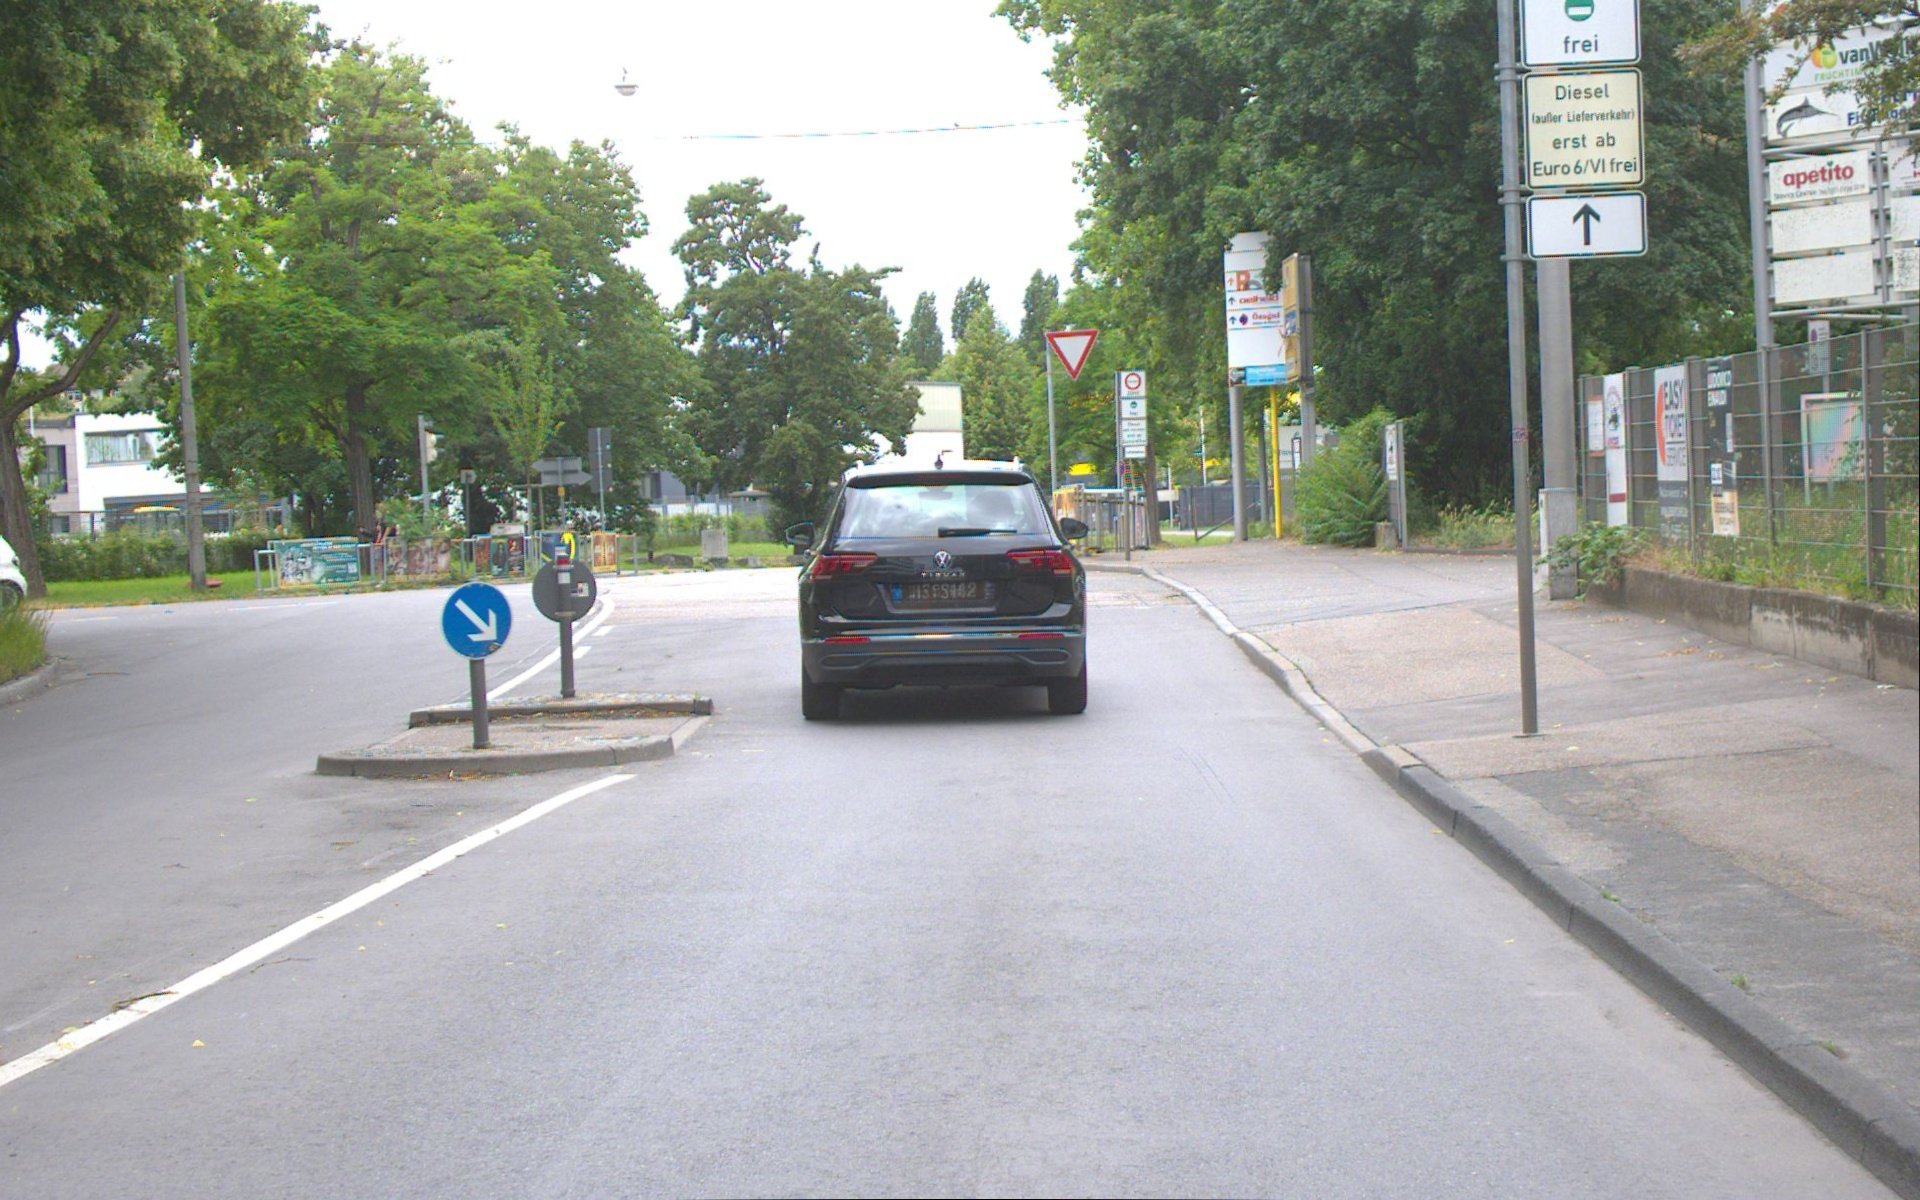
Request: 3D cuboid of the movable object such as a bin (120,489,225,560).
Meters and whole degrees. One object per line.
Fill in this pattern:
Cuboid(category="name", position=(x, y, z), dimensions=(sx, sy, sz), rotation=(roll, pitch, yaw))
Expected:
Cuboid(category="movable object such as a bin", position=(-24.018, -2.323, 104.923), dimensions=(1.996, 2.006, 2.397), rotation=(-2, 2, 22))

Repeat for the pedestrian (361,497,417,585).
Cuboid(category="pedestrian", position=(-11.710, -1.210, 70.525), dimensions=(0.743, 1.736, 0.726), rotation=(-1, 2, 41))

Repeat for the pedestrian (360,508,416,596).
Cuboid(category="pedestrian", position=(-11.558, -0.975, 69.501), dimensions=(0.743, 1.736, 0.726), rotation=(-1, 2, 41))

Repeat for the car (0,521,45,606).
Cuboid(category="car", position=(-17.661, -0.542, 58.625), dimensions=(3.604, 1.404, 1.742), rotation=(-4, 2, -27))

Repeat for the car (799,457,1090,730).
Cuboid(category="car", position=(-0.100, -0.113, 22.562), dimensions=(1.739, 1.612, 3.642), rotation=(-1, 3, 0))

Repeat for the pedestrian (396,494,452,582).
Cuboid(category="pedestrian", position=(-10.910, -1.255, 69.960), dimensions=(0.743, 1.736, 0.726), rotation=(-1, 2, 41))
